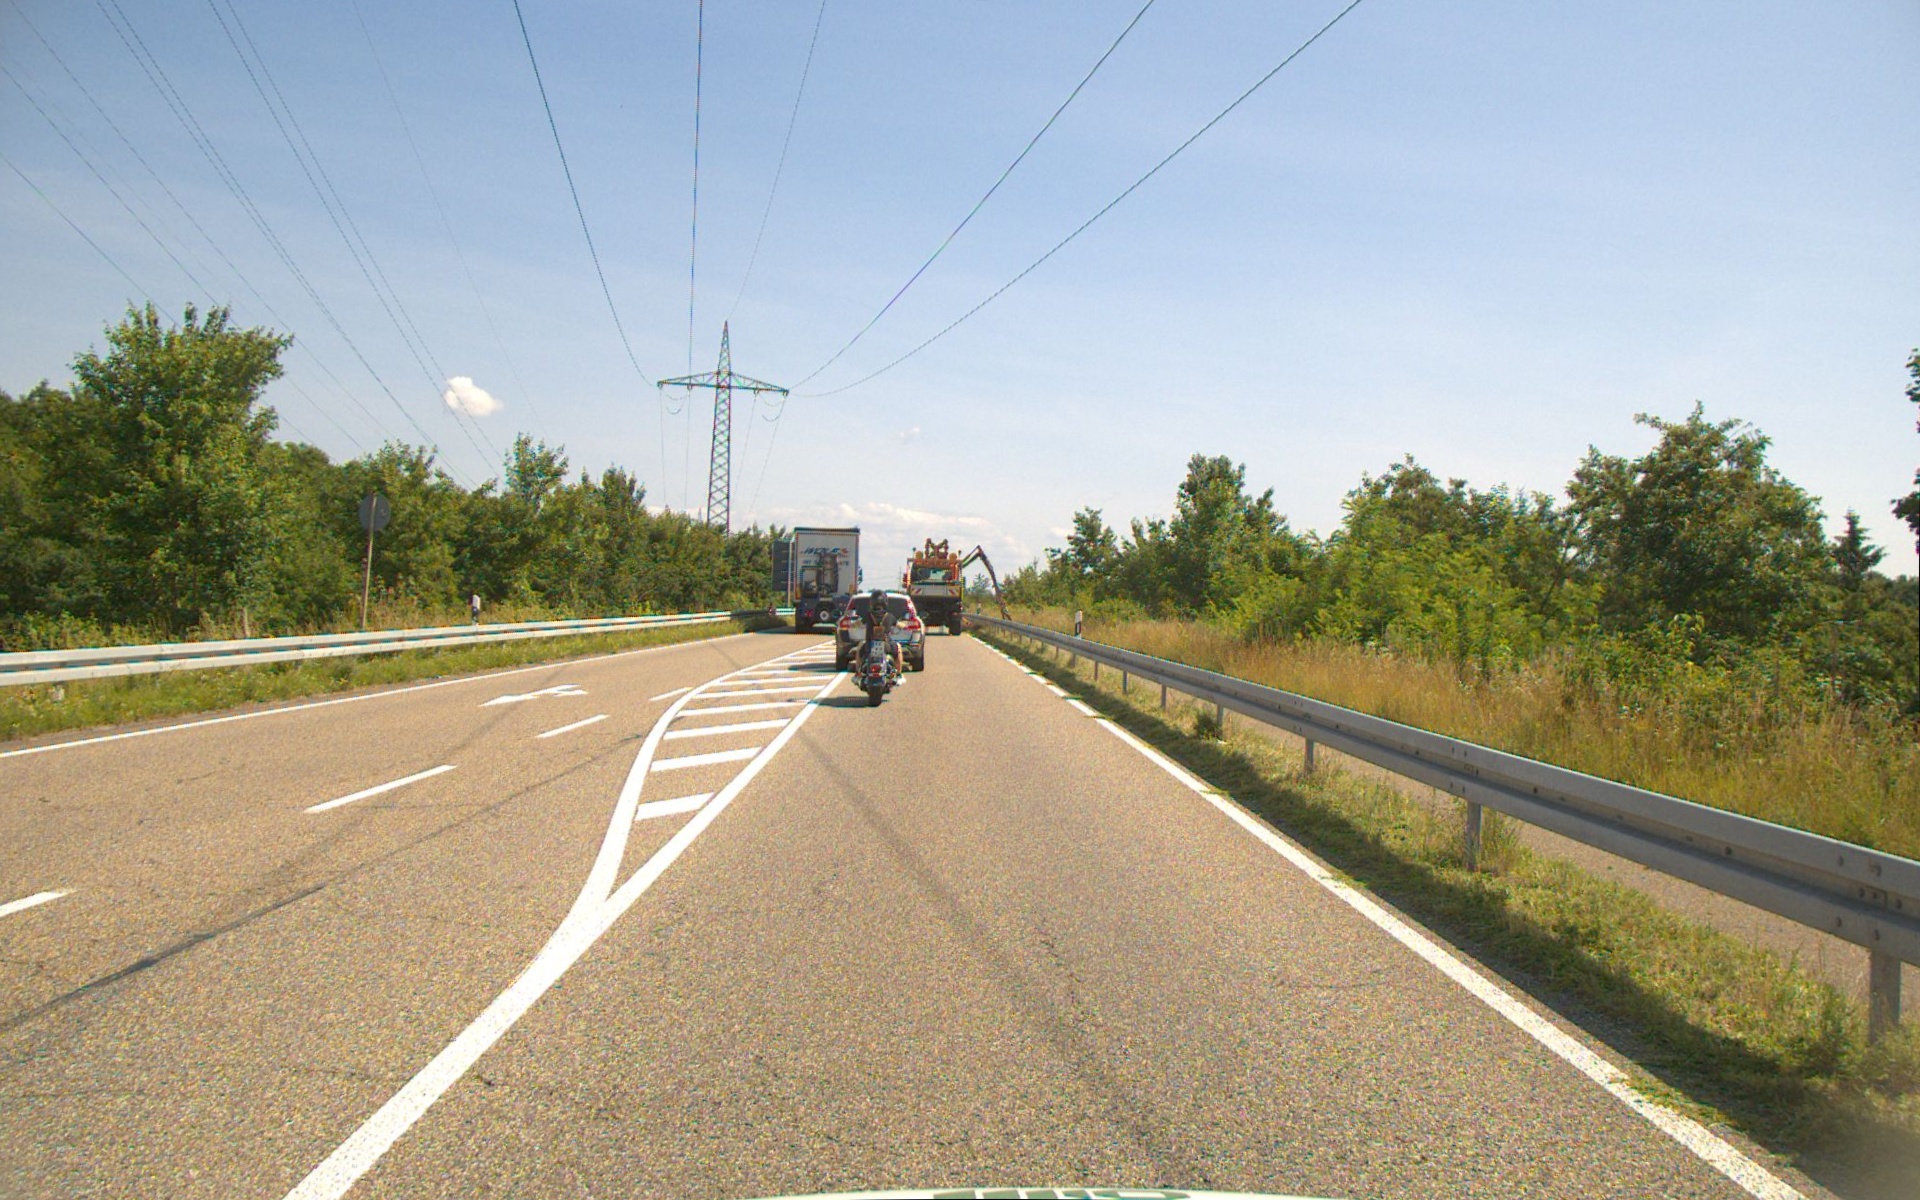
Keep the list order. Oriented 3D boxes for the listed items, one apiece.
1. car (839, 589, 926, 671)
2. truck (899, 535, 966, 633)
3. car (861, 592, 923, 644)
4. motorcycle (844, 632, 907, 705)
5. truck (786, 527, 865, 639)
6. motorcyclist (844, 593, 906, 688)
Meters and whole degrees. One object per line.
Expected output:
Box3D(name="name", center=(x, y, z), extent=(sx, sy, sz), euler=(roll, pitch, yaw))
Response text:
Box3D(name="car", center=(-1.638, 0.585, 34.200), extent=(1.667, 1.563, 3.496), euler=(1, 0, -4))
Box3D(name="truck", center=(-1.141, -0.645, 68.089), extent=(2.561, 3.776, 6.776), euler=(1, 0, -1))
Box3D(name="car", center=(-2.091, 0.531, 51.386), extent=(1.817, 1.516, 3.739), euler=(1, 0, -2))
Box3D(name="motorcycle", center=(-1.196, 0.939, 23.312), extent=(0.842, 0.931, 2.226), euler=(1, 0, -3))
Box3D(name="truck", center=(-5.817, -0.686, 70.967), extent=(2.910, 4.260, 14.806), euler=(1, 0, -5))
Box3D(name="motorcyclist", center=(-1.202, 0.563, 23.349), extent=(0.820, 1.303, 0.919), euler=(1, 0, -3))
